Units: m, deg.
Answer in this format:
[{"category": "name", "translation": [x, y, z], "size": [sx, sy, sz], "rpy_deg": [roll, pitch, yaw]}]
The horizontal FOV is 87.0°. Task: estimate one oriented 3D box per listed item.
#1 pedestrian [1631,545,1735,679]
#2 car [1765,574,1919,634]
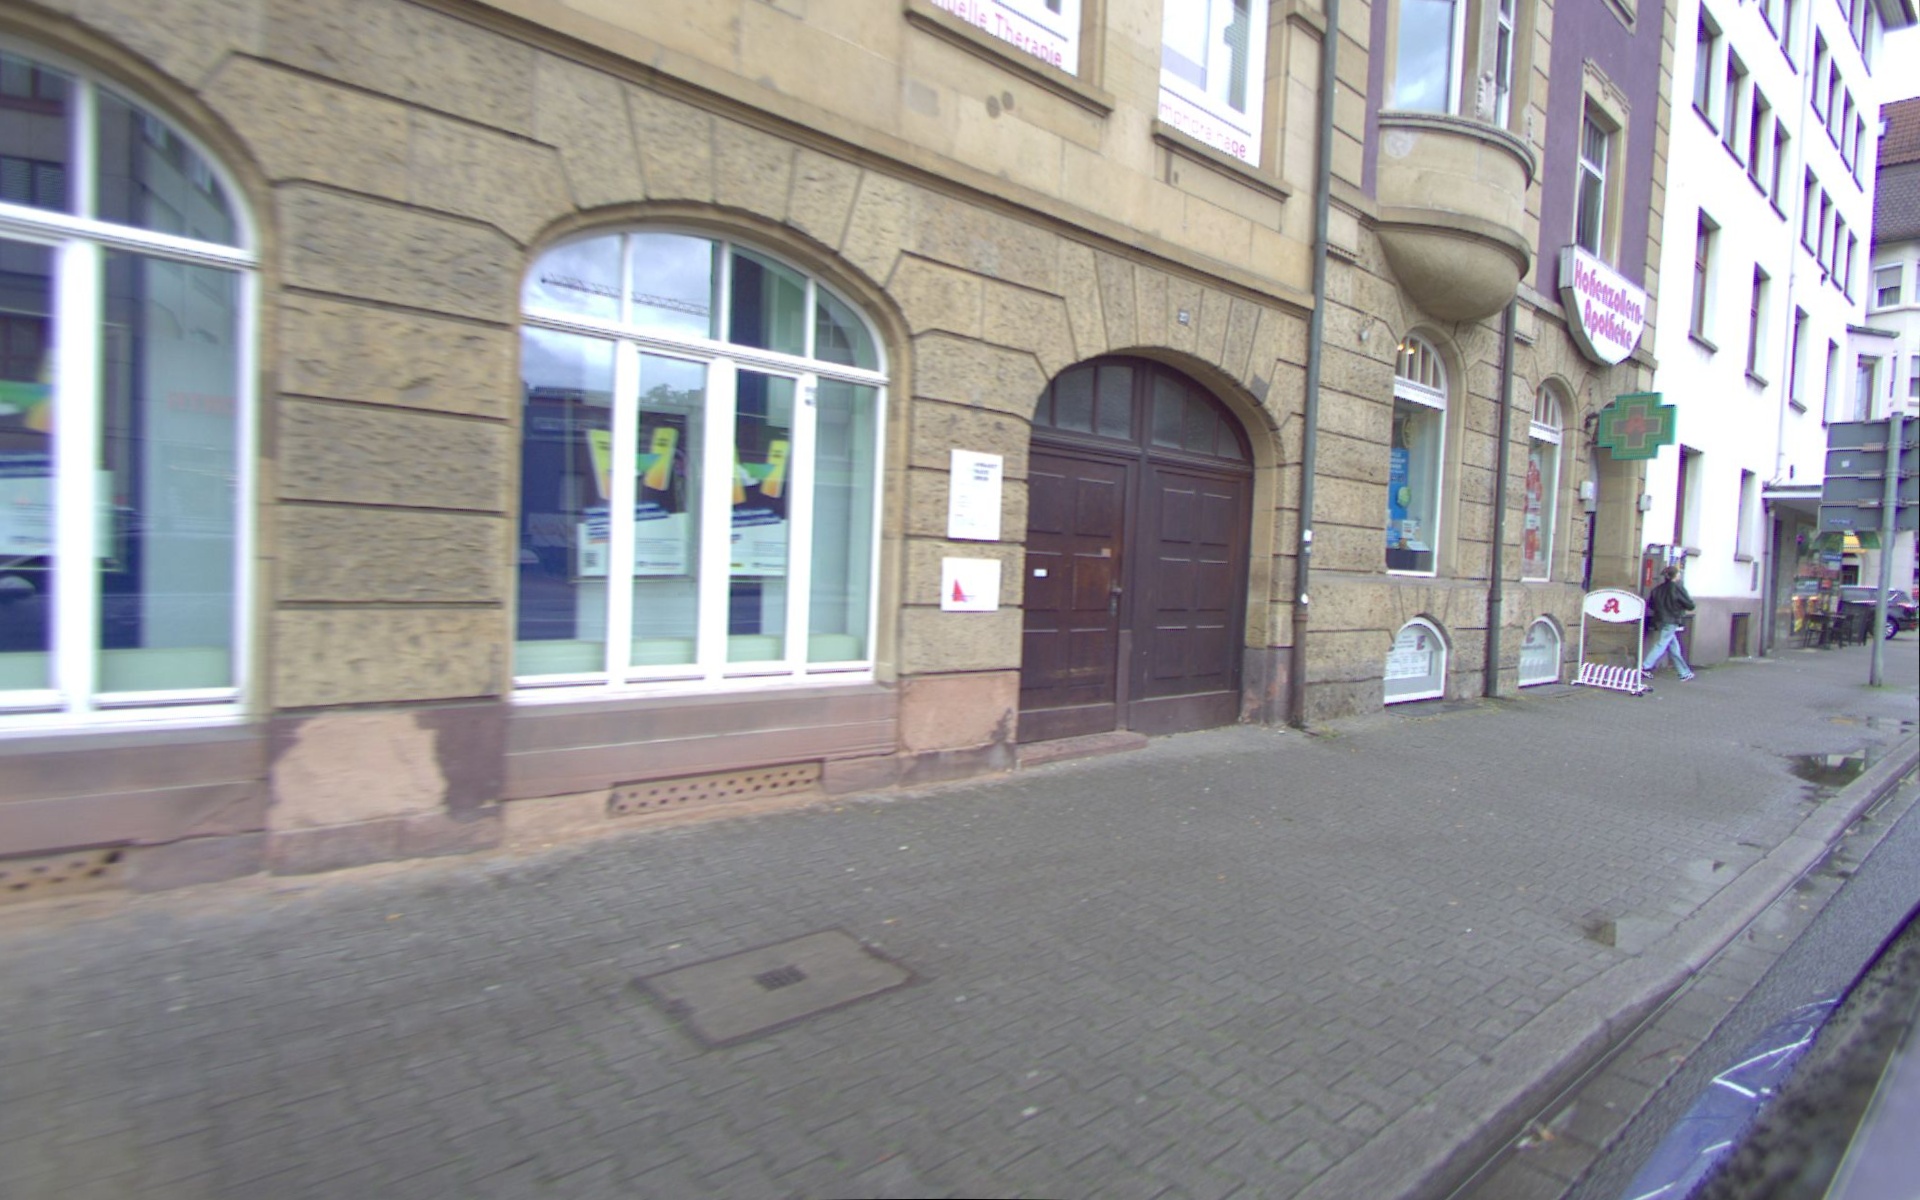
[{"category": "pedestrian", "translation": [9.917, 0.162, 13.893], "size": [0.882, 1.740, 0.676], "rpy_deg": [3, 4, -27]}, {"category": "car", "translation": [29.717, 0.099, 33.988], "size": [4.133, 1.793, 1.847], "rpy_deg": [4, 3, 40]}]
